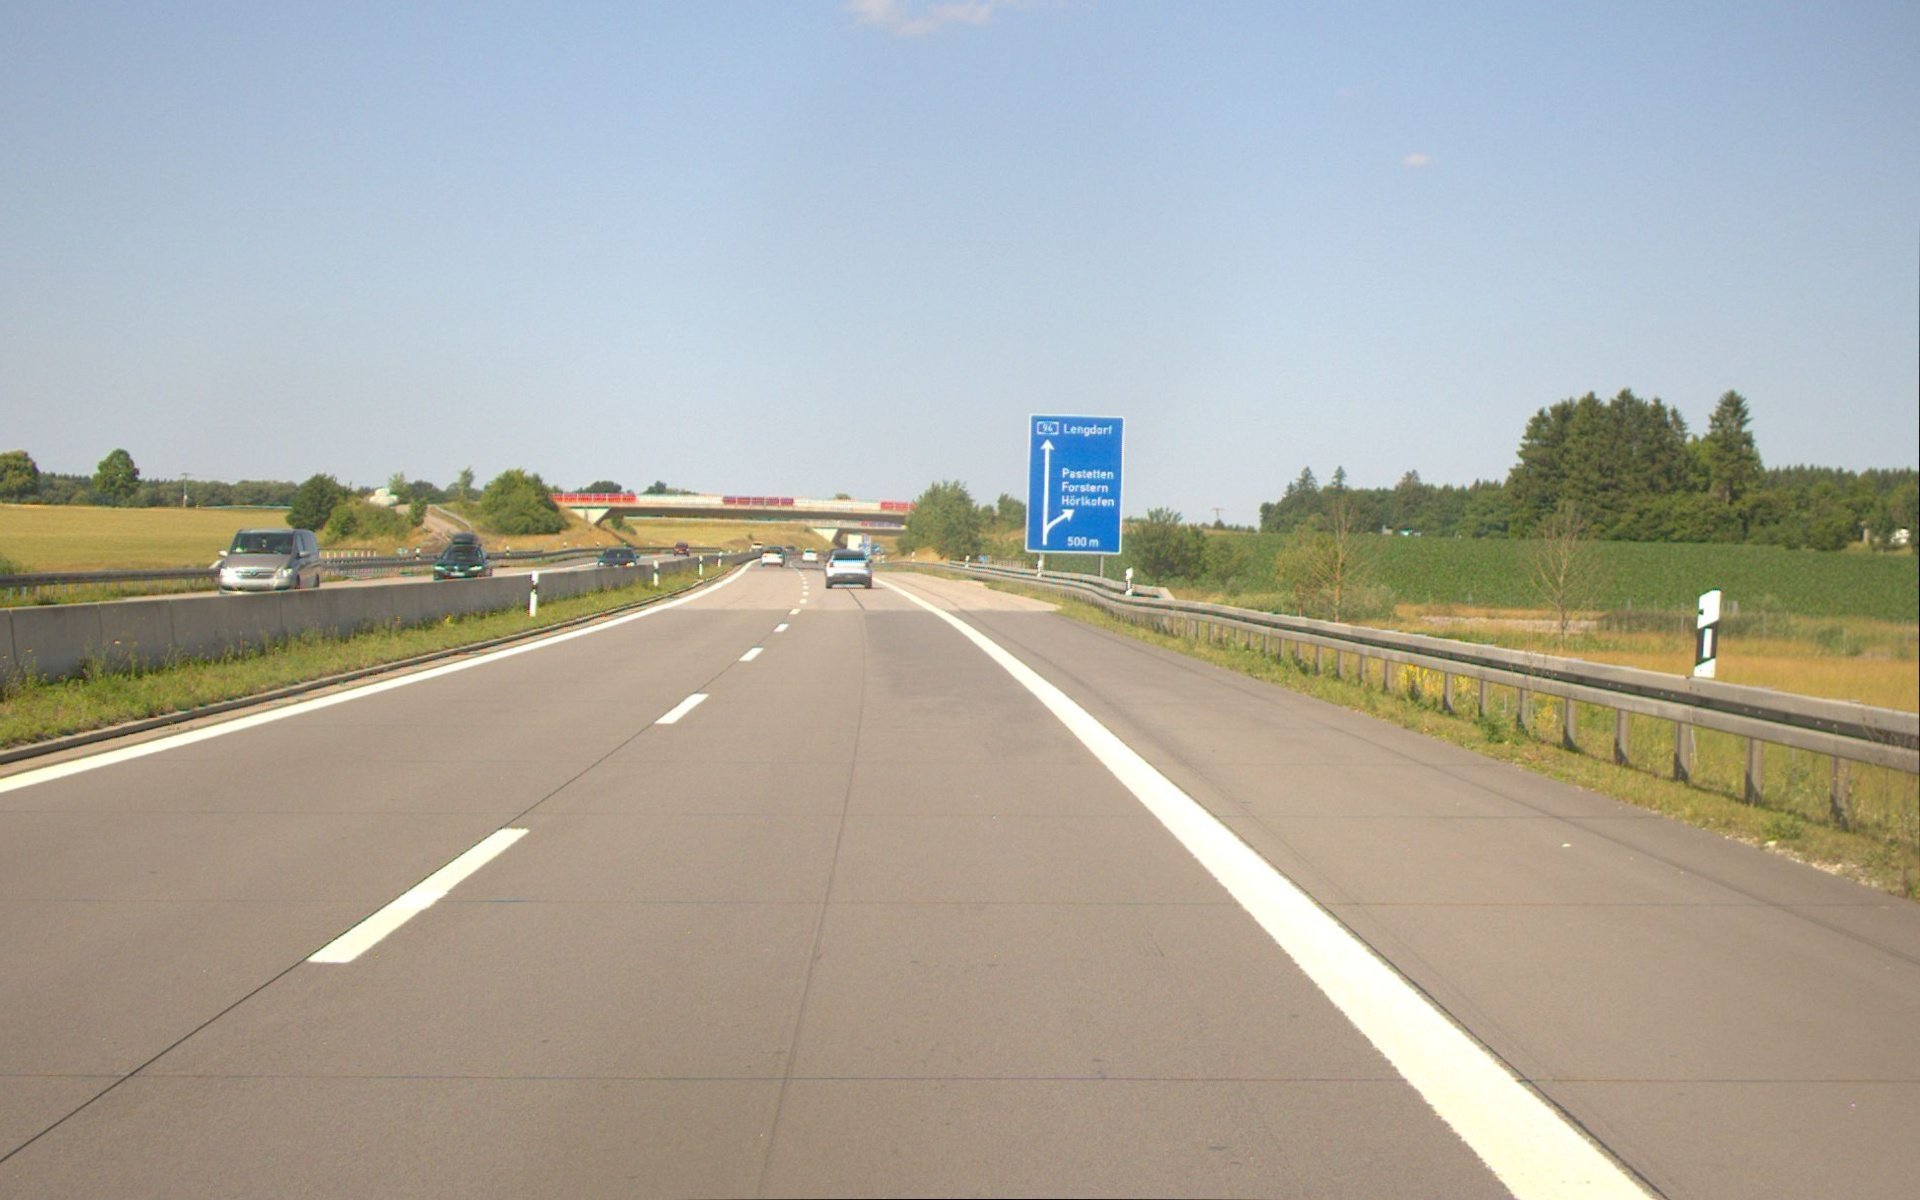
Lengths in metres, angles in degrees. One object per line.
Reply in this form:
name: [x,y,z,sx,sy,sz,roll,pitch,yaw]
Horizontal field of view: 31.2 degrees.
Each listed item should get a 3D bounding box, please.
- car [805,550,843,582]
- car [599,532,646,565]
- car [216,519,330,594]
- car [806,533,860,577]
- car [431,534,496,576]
car: [-7.528,-1.909,190.567,1.993,1.725,4.869,1,1,-2]
car: [-15.739,-2.397,160.570,1.897,1.518,4.806,0,1,-2]
car: [-17.202,-1.113,86.314,1.954,1.835,5.450,0,1,-2]
car: [-5.141,-1.823,138.774,1.993,1.725,4.870,1,1,-4]
car: [-18.587,-1.701,128.882,1.897,1.518,4.806,0,1,-2]
